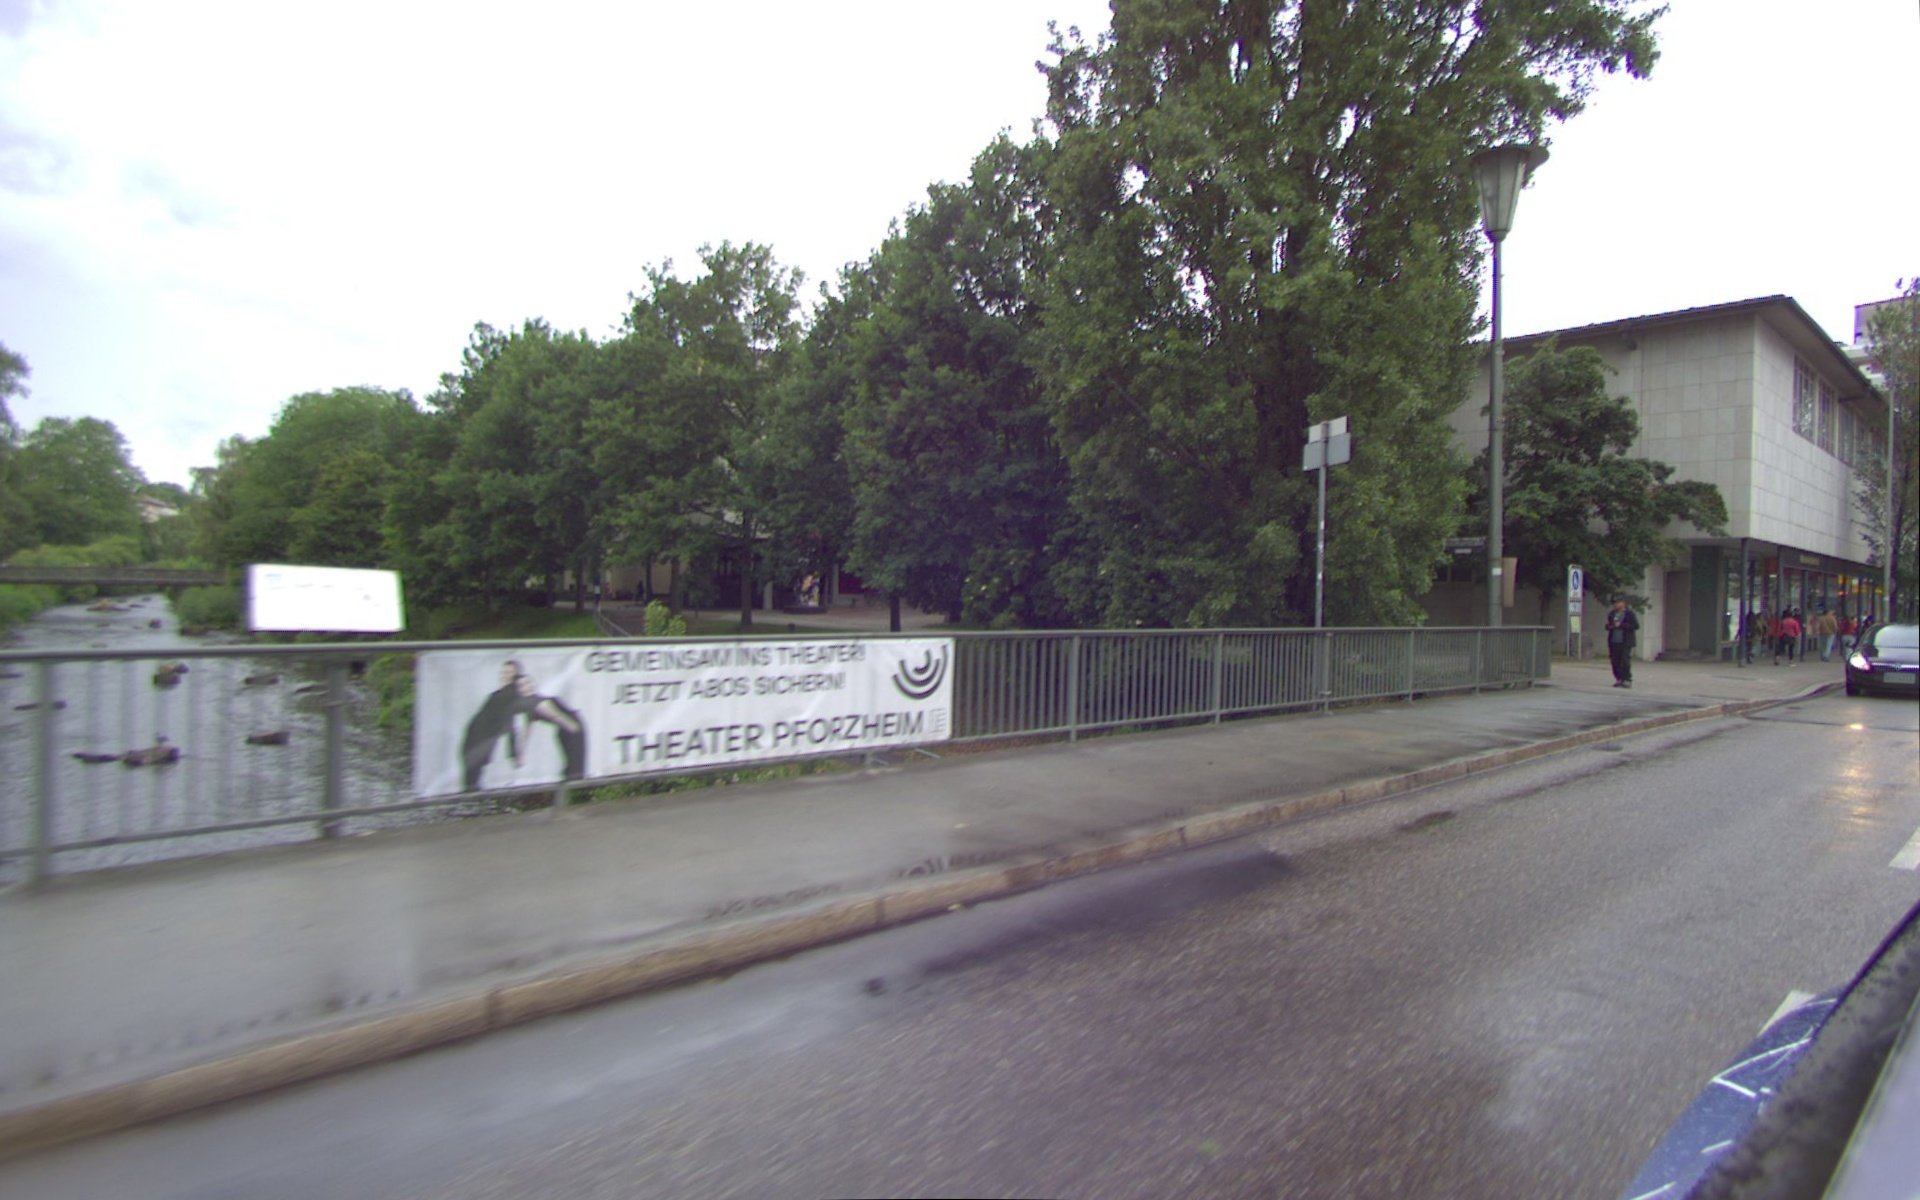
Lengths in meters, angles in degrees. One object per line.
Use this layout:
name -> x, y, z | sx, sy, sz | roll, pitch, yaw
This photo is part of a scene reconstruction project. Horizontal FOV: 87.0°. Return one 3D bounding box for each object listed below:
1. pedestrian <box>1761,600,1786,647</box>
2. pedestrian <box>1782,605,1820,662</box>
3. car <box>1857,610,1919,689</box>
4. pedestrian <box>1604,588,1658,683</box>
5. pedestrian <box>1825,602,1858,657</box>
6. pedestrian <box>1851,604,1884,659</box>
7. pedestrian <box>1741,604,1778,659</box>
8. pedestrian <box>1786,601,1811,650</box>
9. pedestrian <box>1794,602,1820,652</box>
pedestrian -> 30.454, 0.880, 37.874 | 0.524, 1.740, 0.538 | 1, 0, -31
pedestrian -> 25.055, 0.976, 30.155 | 0.756, 1.640, 0.718 | 1, 2, -41
car -> 19.611, 0.995, 20.553 | 3.678, 1.475, 1.710 | 2, -1, -42
pedestrian -> 12.244, 0.641, 18.476 | 0.553, 1.685, 0.641 | 3, 0, -42
pedestrian -> 30.068, 1.005, 34.523 | 0.596, 1.824, 0.699 | 1, 2, -41
pedestrian -> 30.548, 1.060, 34.071 | 0.907, 1.789, 0.655 | 1, 2, -41
pedestrian -> 24.414, 0.944, 30.897 | 0.596, 1.609, 0.727 | 1, 2, -41
pedestrian -> 30.860, 0.931, 37.228 | 0.524, 1.740, 0.538 | 1, 0, -32
pedestrian -> 31.525, 1.003, 37.661 | 0.524, 1.843, 0.539 | 2, 0, -31
